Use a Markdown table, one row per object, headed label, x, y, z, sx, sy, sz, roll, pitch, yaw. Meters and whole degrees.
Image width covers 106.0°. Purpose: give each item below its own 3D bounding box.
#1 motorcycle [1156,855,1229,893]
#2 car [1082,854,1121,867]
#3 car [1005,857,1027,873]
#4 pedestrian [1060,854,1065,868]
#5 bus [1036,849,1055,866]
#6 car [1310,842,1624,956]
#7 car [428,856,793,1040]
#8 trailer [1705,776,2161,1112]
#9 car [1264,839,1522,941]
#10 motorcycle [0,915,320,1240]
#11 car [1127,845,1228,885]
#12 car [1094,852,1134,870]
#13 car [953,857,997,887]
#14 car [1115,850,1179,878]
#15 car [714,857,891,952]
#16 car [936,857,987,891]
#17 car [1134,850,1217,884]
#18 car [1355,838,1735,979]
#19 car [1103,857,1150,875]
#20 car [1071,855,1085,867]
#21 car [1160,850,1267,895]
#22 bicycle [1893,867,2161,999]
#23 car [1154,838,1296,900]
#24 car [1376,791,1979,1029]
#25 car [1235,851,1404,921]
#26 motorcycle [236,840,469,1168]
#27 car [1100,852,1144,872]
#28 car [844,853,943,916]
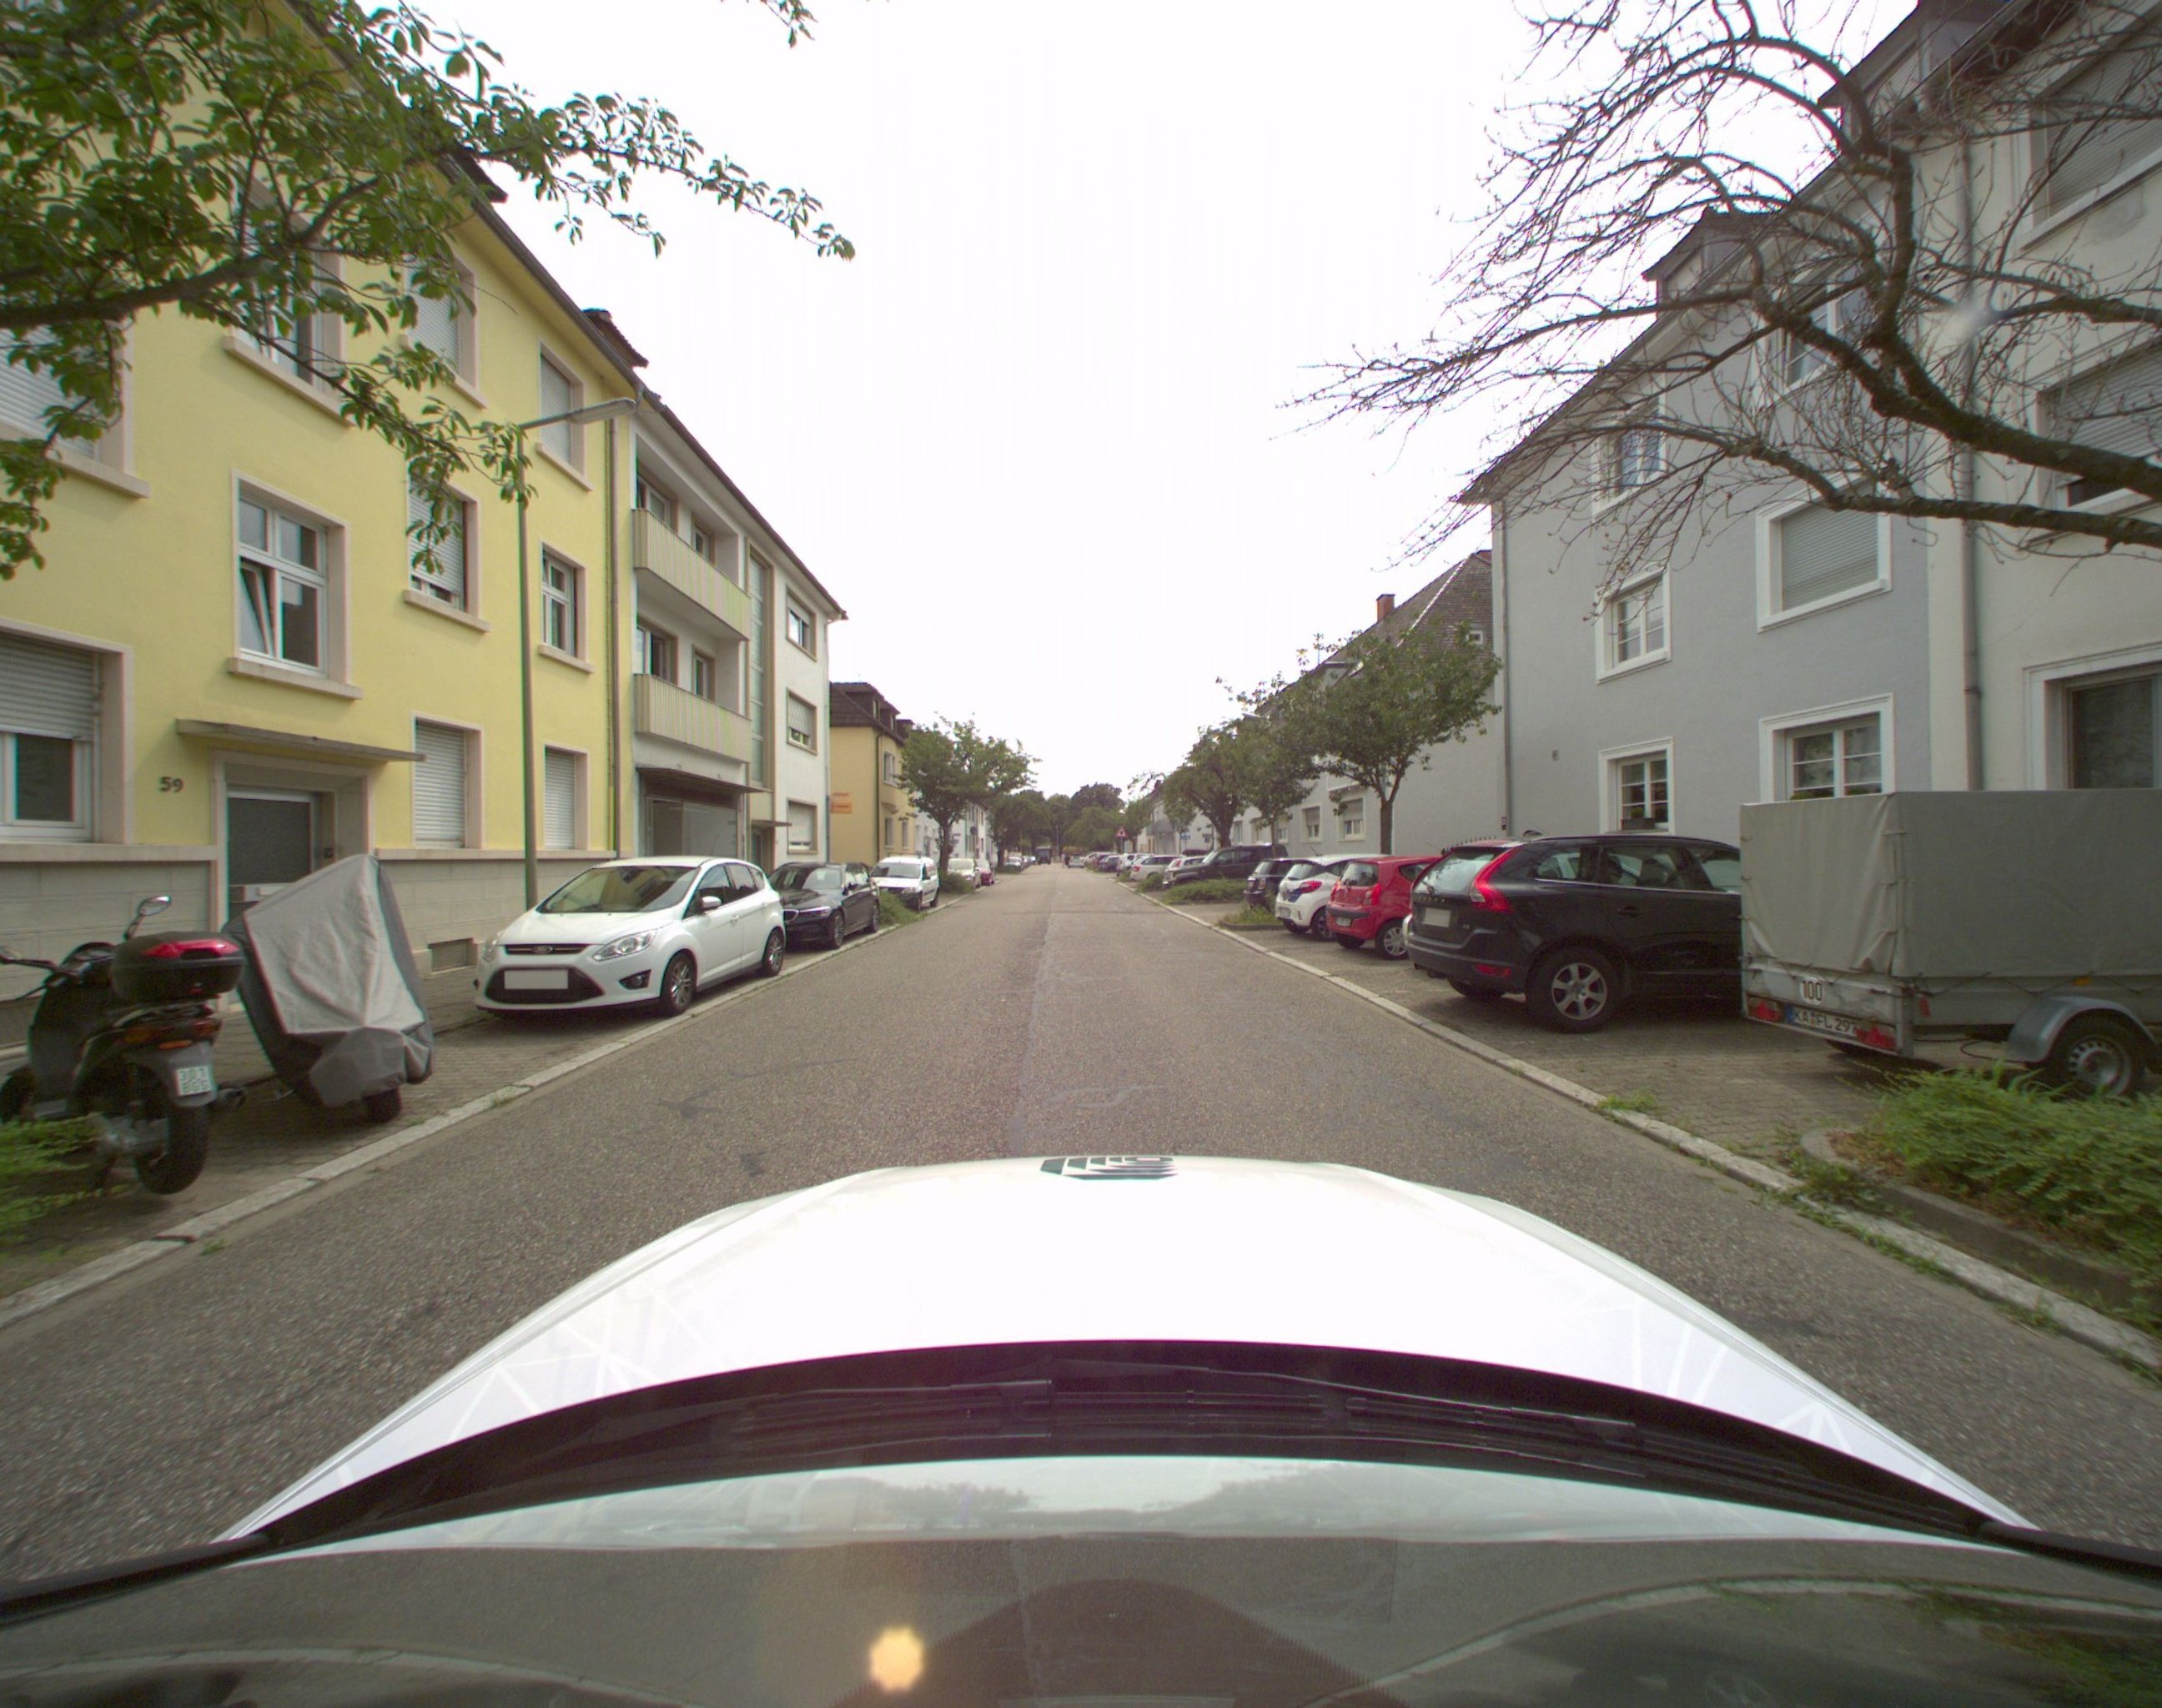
| label | x | y | z | sx | sy | sz | roll | pitch | yaw |
| --- | --- | --- | --- | --- | --- | --- | --- | --- | --- |
| motorcycle | 4.447 | 0.780 | 32.602 | 2.697 | 1.464 | 1.029 | -1 | 0 | -6 |
| car | 2.751 | 0.831 | 109.064 | 4.965 | 1.518 | 1.766 | -3 | 0 | -4 |
| car | -6.653 | 1.117 | 83.134 | 1.757 | 1.554 | 3.732 | -3 | 0 | 2 |
| pedestrian | -2.224 | 0.906 | 99.763 | 0.520 | 1.704 | 0.445 | -3 | -1 | 2 |
| bus | -6.018 | 0.568 | 140.410 | 2.996 | 2.761 | 8.917 | -3 | 0 | -2 |
| car | 5.794 | 0.633 | 12.500 | 3.980 | 1.410 | 1.765 | -3 | 0 | -5 |
| car | -4.871 | 0.835 | 9.276 | 1.752 | 1.556 | 4.253 | -1 | 0 | -2 |
| trailer | 6.121 | 0.479 | 5.303 | 2.950 | 1.831 | 1.401 | -3 | -1 | 1 |
| car | 5.573 | 0.617 | 14.850 | 3.980 | 1.530 | 1.765 | -3 | 0 | -5 |
| motorcycle | -5.131 | 1.025 | 3.806 | 2.441 | 1.311 | 0.643 | -3 | -1 | -2 |
| car | 4.609 | 0.534 | 39.311 | 4.601 | 1.664 | 1.891 | -3 | 0 | -1 |
| car | 3.233 | 0.694 | 79.222 | 3.737 | 1.564 | 1.772 | -3 | 0 | -1 |
| car | -5.738 | 0.968 | 44.683 | 1.872 | 1.486 | 4.509 | -3 | 0 | -2 |
| car | 4.287 | 0.638 | 53.176 | 3.912 | 1.633 | 1.867 | -3 | 0 | -1 |
| car | -5.009 | 0.841 | 15.443 | 1.785 | 1.492 | 4.809 | 0 | -1 | -1 |
| car | -5.722 | 0.937 | 39.410 | 1.766 | 1.392 | 4.273 | 5 | 0 | -1 |
| car | 4.820 | 0.639 | 41.903 | 3.976 | 1.508 | 1.711 | -3 | 0 | -2 |
| car | 5.687 | 0.632 | 10.350 | 3.737 | 1.441 | 1.864 | -3 | 0 | -1 |
| car | 3.818 | 0.992 | 68.858 | 3.737 | 1.365 | 1.772 | -3 | 0 | -1 |
| car | -0.394 | 0.856 | 100.573 | 1.682 | 1.354 | 3.825 | -3 | 0 | 0 |
| car | 4.986 | 0.691 | 30.929 | 3.620 | 1.454 | 1.769 | -3 | 0 | -6 |
| bicycle | 9.482 | 0.710 | 8.135 | 0.684 | 1.097 | 2.005 | -3 | 0 | 0 |
| car | 4.876 | 0.509 | 28.038 | 4.510 | 1.858 | 1.793 | -3 | 0 | 0 |
| car | 5.239 | 0.461 | 7.629 | 4.201 | 1.735 | 1.904 | -3 | 0 | 0 |
| car | 5.764 | 0.755 | 19.987 | 3.534 | 1.453 | 1.807 | -3 | 0 | -3 |
| motorcycle | -4.844 | 0.775 | 5.365 | 2.443 | 1.676 | 0.944 | -1 | 0 | 45 |
| car | 3.595 | 0.677 | 71.750 | 3.737 | 1.564 | 1.772 | -3 | 0 | -1 |
| car | -5.405 | 0.839 | 24.098 | 1.913 | 1.581 | 4.380 | -3 | 0 | -1 |
